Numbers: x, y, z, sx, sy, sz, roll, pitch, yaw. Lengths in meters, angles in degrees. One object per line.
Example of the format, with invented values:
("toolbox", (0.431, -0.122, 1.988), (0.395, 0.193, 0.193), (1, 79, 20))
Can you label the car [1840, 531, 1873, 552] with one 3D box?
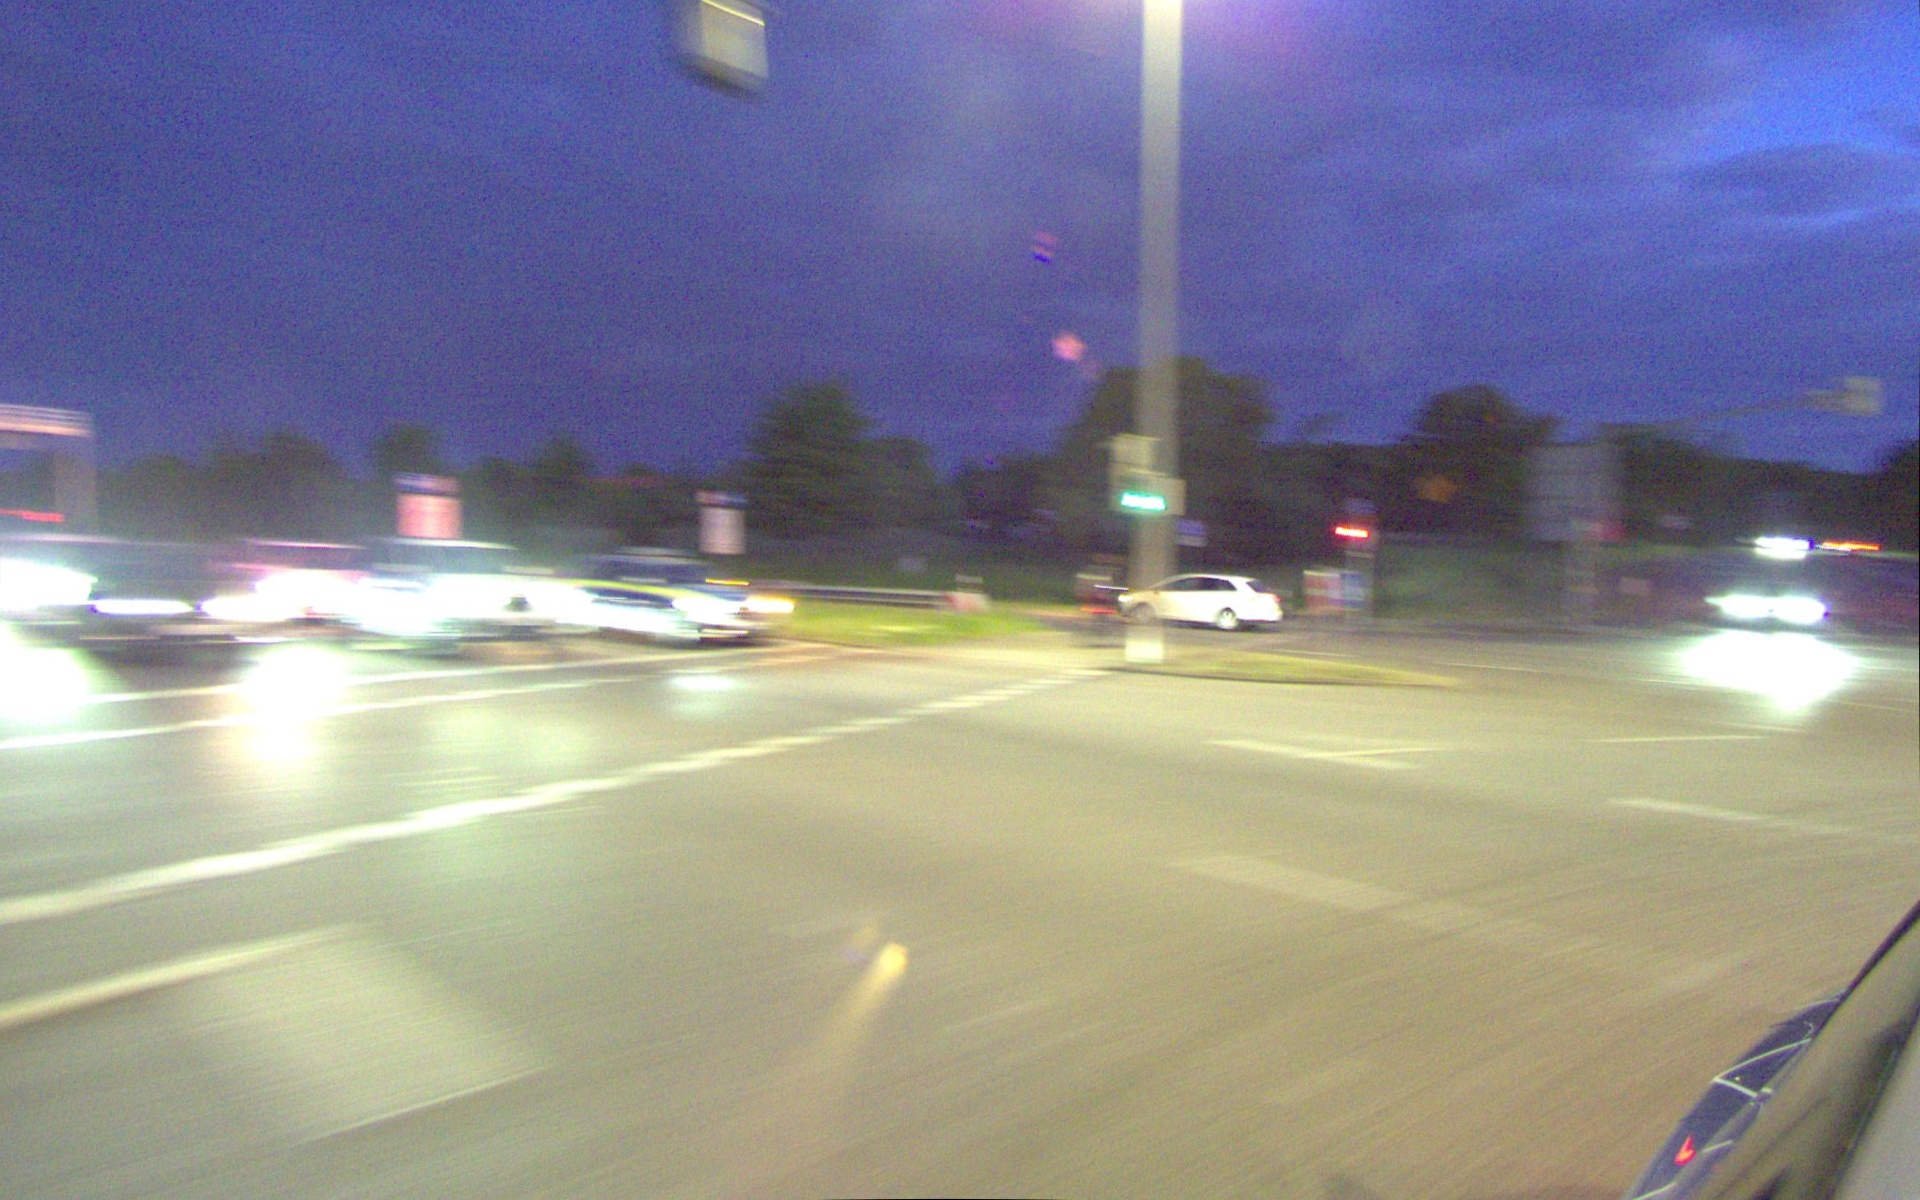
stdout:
("car", (81.309, -5.327, 91.799), (1.729, 1.590, 4.014), (1, 7, 35))

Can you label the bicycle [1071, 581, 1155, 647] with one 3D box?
("bicycle", (2.812, 0.224, 18.460), (0.690, 1.115, 2.043), (2, 2, 34))

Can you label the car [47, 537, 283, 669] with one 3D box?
("car", (-10.564, -0.059, 13.327), (4.275, 1.463, 1.759), (3, 2, 42))

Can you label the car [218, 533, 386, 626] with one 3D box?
("car", (-13.167, -0.467, 20.142), (4.346, 1.646, 1.725), (3, 3, 41))

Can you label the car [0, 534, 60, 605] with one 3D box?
("car", (-20.639, -0.697, 21.405), (4.379, 1.406, 1.811), (3, 4, 41))

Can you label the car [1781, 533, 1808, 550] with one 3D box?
("car", (92.185, -6.443, 111.760), (3.856, 1.616, 1.697), (0, 1, -41))

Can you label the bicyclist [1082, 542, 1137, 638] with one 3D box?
("bicyclist", (2.727, -0.193, 18.367), (0.600, 1.671, 0.988), (2, 2, 34))

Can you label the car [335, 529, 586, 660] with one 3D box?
("car", (-7.653, -0.163, 15.324), (4.403, 1.703, 1.886), (3, 2, 41))

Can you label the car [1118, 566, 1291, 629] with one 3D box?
("car", (6.278, -0.134, 26.222), (4.097, 1.461, 1.602), (2, 3, 39))

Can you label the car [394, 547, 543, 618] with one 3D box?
("car", (-11.462, -0.446, 23.481), (3.895, 1.499, 1.752), (3, 2, 42))

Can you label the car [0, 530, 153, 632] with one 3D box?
("car", (-15.495, -0.396, 17.397), (3.983, 1.543, 1.811), (3, 3, 41))

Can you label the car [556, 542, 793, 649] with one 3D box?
("car", (-5.158, -0.173, 17.931), (4.566, 1.653, 1.831), (3, 3, 41))
